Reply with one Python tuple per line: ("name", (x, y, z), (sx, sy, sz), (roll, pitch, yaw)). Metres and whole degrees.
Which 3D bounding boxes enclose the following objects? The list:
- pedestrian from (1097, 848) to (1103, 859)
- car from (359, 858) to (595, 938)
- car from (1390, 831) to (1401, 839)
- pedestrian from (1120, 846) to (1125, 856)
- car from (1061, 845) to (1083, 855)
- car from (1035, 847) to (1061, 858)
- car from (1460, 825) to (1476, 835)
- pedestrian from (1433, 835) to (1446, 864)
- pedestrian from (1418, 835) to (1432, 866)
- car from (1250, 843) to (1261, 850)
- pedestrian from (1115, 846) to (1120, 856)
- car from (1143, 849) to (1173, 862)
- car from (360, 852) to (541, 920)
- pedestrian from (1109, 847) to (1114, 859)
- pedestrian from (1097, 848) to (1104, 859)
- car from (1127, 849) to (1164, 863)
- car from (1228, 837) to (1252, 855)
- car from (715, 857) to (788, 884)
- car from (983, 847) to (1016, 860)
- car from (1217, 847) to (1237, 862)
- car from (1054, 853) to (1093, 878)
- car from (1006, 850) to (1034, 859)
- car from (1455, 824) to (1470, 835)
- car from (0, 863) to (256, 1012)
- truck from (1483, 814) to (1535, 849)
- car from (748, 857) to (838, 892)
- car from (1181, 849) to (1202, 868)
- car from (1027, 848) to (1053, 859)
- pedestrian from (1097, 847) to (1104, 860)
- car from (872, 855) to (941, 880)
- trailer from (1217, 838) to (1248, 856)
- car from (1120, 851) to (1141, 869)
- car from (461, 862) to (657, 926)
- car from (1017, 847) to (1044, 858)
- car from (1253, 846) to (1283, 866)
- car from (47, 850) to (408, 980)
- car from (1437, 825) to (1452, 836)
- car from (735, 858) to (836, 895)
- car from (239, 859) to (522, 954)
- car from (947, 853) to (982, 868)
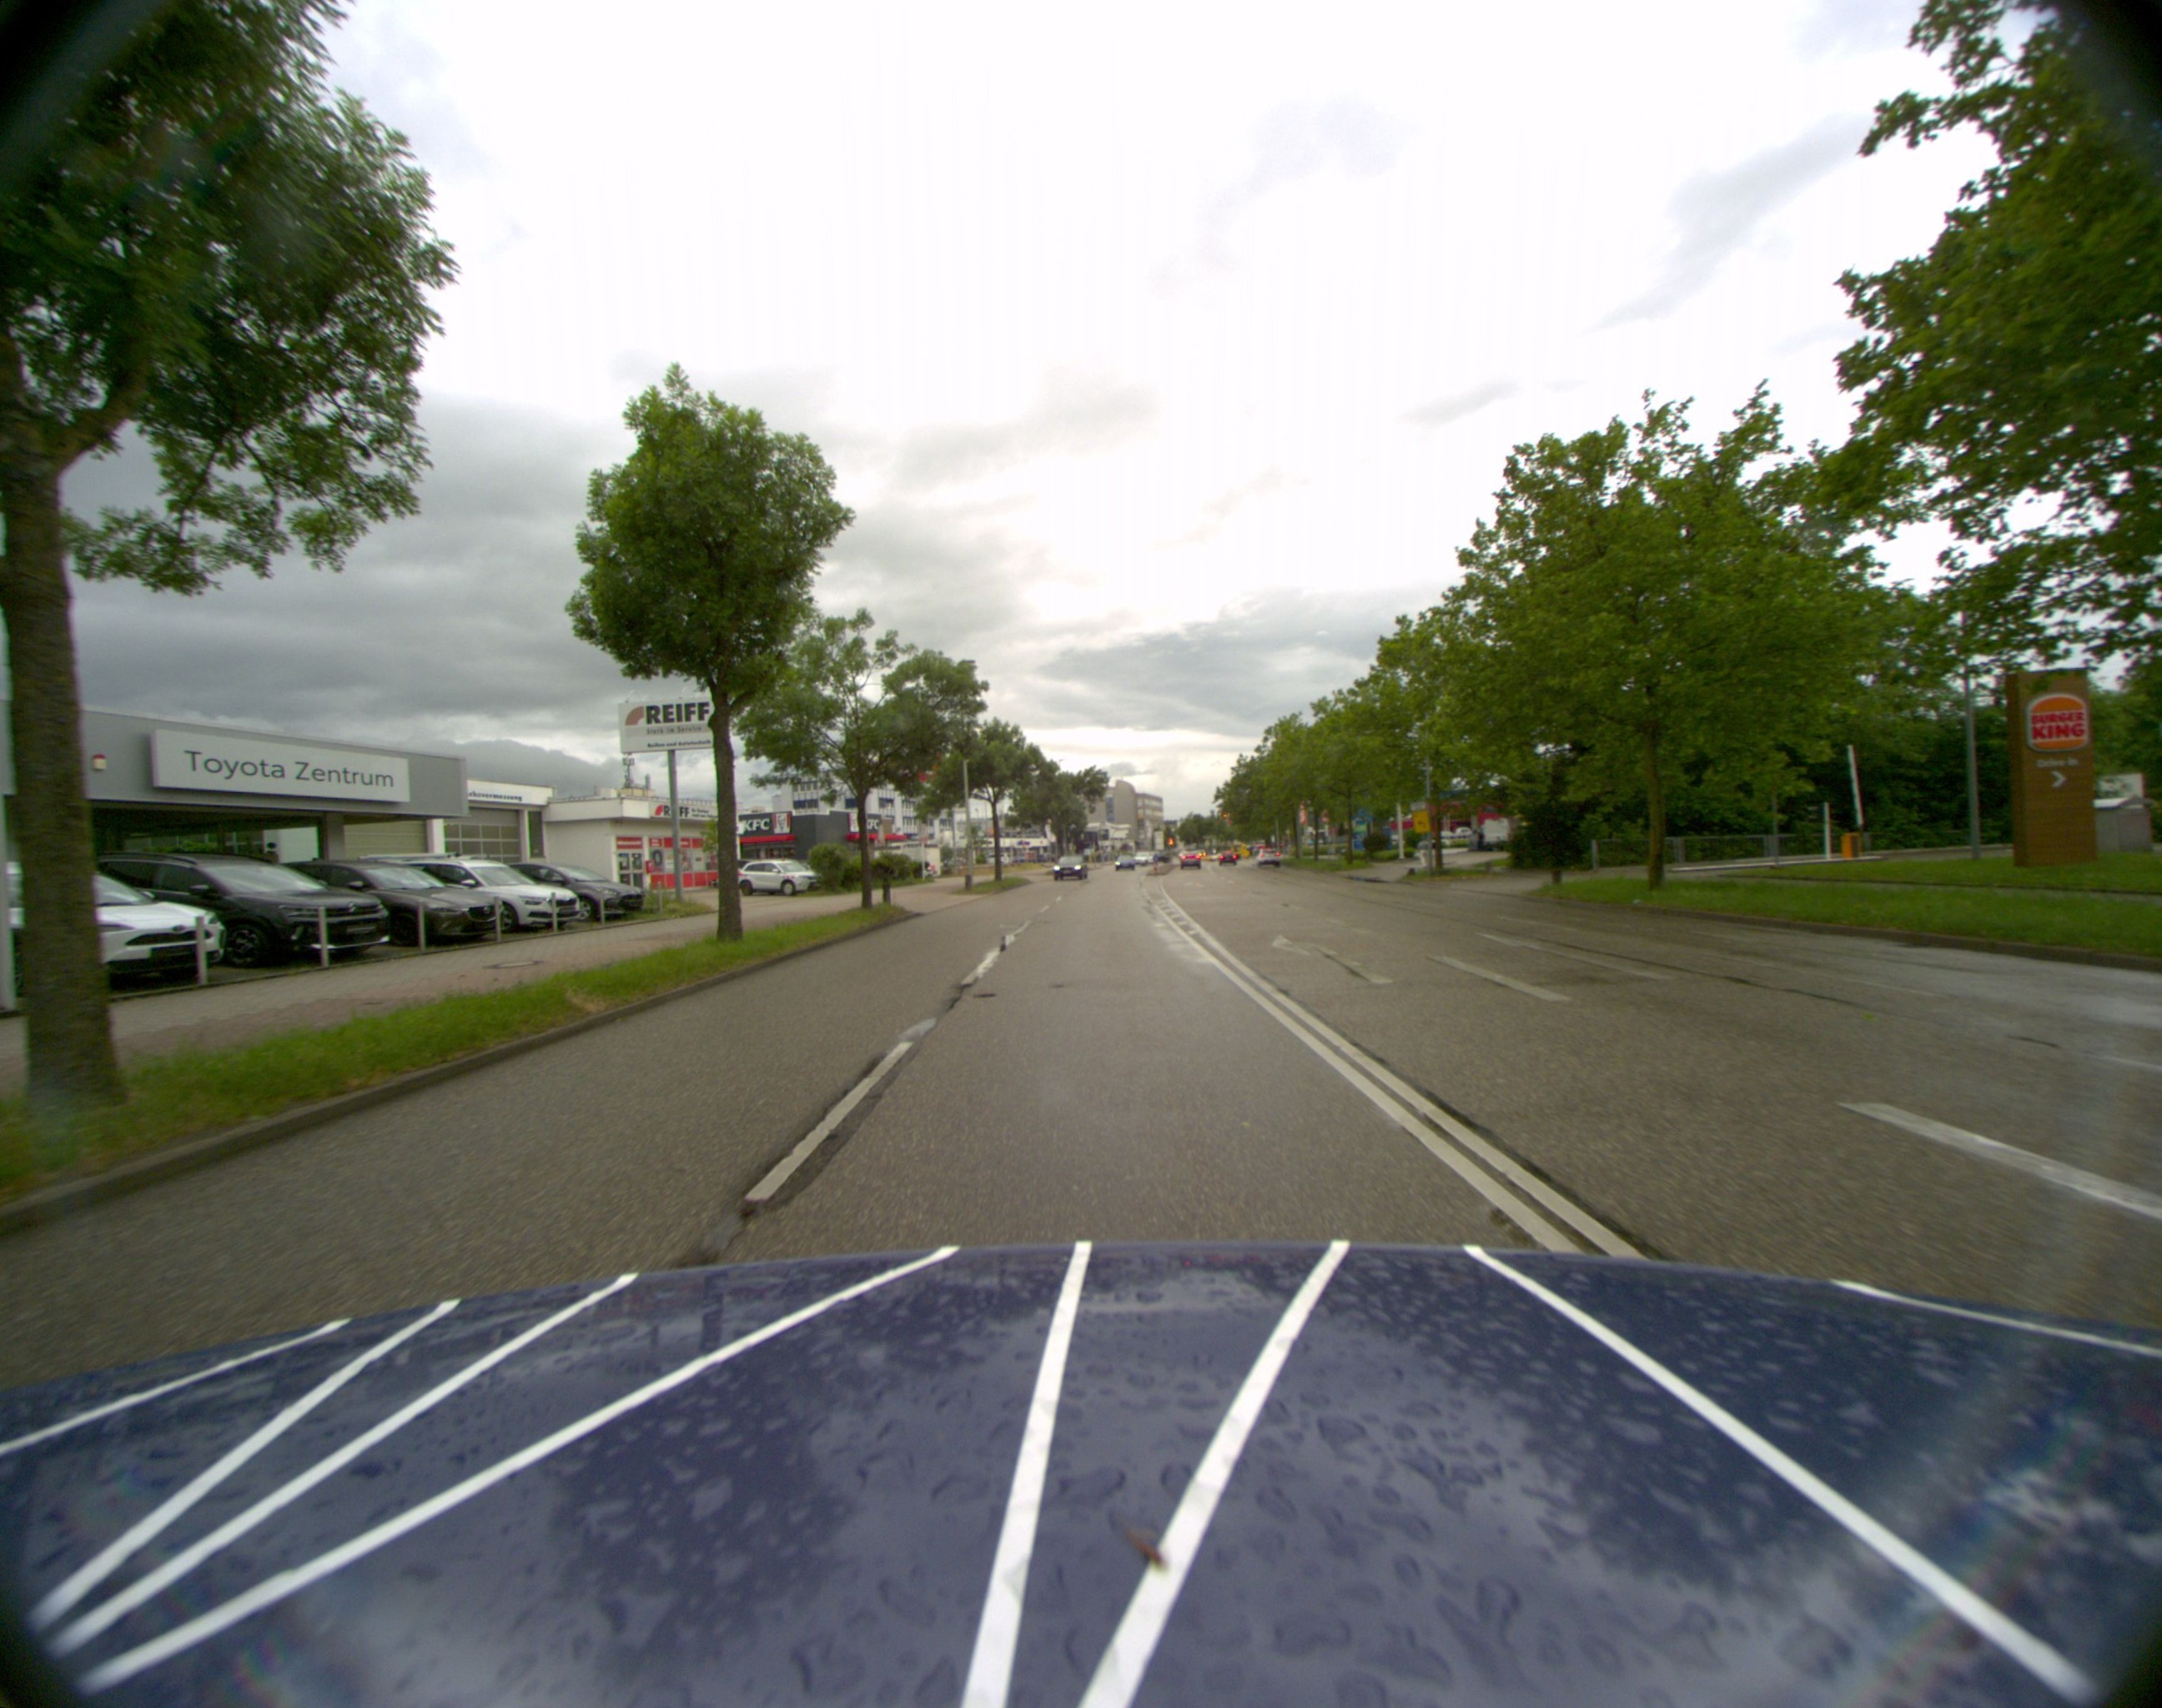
("pedestrian", (3.141, -0.106, 123.400), (0.814, 1.846, 0.698), (0, 3, 19))
("car", (-13.620, 0.943, 17.275), (3.995, 1.534, 1.812), (2, 1, 4))
("car", (65.941, -3.942, 159.531), (1.694, 1.636, 3.967), (-2, 0, 17))
("pedestrian", (7.456, -0.494, 137.088), (0.713, 1.701, 0.698), (-1, 0, 19))
("car", (-1.780, -0.802, 151.983), (3.991, 2.002, 1.914), (-2, 0, 21))
("car", (-6.175, -0.212, 141.184), (4.366, 1.895, 1.899), (-2, 1, 18))
("car", (62.811, -3.881, 123.334), (1.669, 1.373, 3.914), (-2, 0, 17))
("pedestrian", (20.768, -0.254, 44.040), (0.513, 1.673, 0.540), (-2, 1, 4))
("pedestrian", (19.904, -0.200, 43.970), (0.665, 1.756, 0.584), (-3, 1, 25))
("car", (35.853, -1.600, 155.893), (1.785, 1.396, 4.005), (-2, 0, 17))
("pedestrian", (6.424, -0.552, 134.617), (0.700, 1.701, 0.698), (-1, 0, 19))
("car", (10.496, 0.156, 103.736), (3.995, 1.532, 1.815), (-2, 2, 6))
("car", (-21.918, 1.074, 26.540), (4.664, 2.137, 1.965), (-2, 1, 2))
("pedestrian", (5.022, -0.172, 125.527), (0.740, 2.002, 0.698), (-2, 0, 13))
("pedestrian", (3.086, -0.045, 121.939), (0.817, 1.765, 0.696), (-2, 2, -25))
("car", (7.789, 0.293, 91.487), (4.006, 1.544, 1.897), (-2, -1, -32))
("car", (23.966, -1.156, 114.363), (2.241, 2.459, 5.024), (-4, -1, 26))
("car", (-21.102, 1.039, 48.719), (3.855, 1.470, 1.787), (-2, 1, 5))
("car", (-13.023, -0.071, 121.426), (4.777, 2.002, 2.003), (-2, 0, 19))
("car", (15.652, 0.087, 81.635), (1.997, 1.499, 4.734), (-1, 0, 10))
("car", (-0.416, 0.734, 50.927), (1.899, 1.544, 4.595), (-2, 0, 8))
("car", (-10.367, 0.112, 128.844), (4.366, 1.385, 1.826), (-2, 0, 18))
("car", (63.923, -4.061, 127.259), (1.629, 1.636, 3.831), (-2, 0, 17))
("car", (-13.808, 0.995, 9.954), (3.997, 1.578, 1.812), (3, 0, 1))
("truck", (35.634, -1.809, 63.123), (2.149, 2.659, 7.889), (-1, 0, 41))
("car", (-14.349, 1.012, 37.805), (4.145, 1.652, 1.825), (-2, -1, 26))
("car", (10.184, 0.408, 70.266), (1.815, 1.553, 4.600), (-2, 1, 7))
("car", (-7.448, -0.094, 139.001), (4.366, 1.754, 1.899), (-2, 0, 18))
("pedestrian", (3.111, -0.101, 120.038), (0.817, 2.002, 0.696), (-2, 1, -25))
("car", (-12.003, 0.926, 52.331), (4.181, 1.543, 1.891), (-2, 0, 11))
("trailer", (21.898, -0.996, 109.708), (2.306, 2.459, 7.985), (-4, -1, 26))
("car", (4.855, 0.572, 74.046), (1.799, 1.623, 4.553), (-2, 0, 6))
("car", (-13.487, 1.000, 19.800), (3.842, 1.453, 1.828), (2, 1, 2))
("car", (-8.962, -0.260, 134.793), (4.366, 1.754, 1.899), (-2, 0, 18))
("car", (16.383, 0.136, 66.795), (1.932, 1.610, 4.400), (-2, 1, 6))
("car", (-13.667, 0.898, 12.325), (3.995, 1.776, 1.812), (2, 1, 4))
("car", (60.923, -3.966, 127.507), (1.669, 1.636, 3.831), (-2, 0, 17))
("car", (-13.646, 1.030, 35.142), (4.058, 1.588, 1.988), (-1, 1, 23))
("car", (-13.561, 0.965, 14.861), (3.995, 1.575, 1.812), (2, 1, 4))
("car", (-15.675, 0.885, 101.882), (4.241, 1.772, 1.801), (-2, -2, 14))
